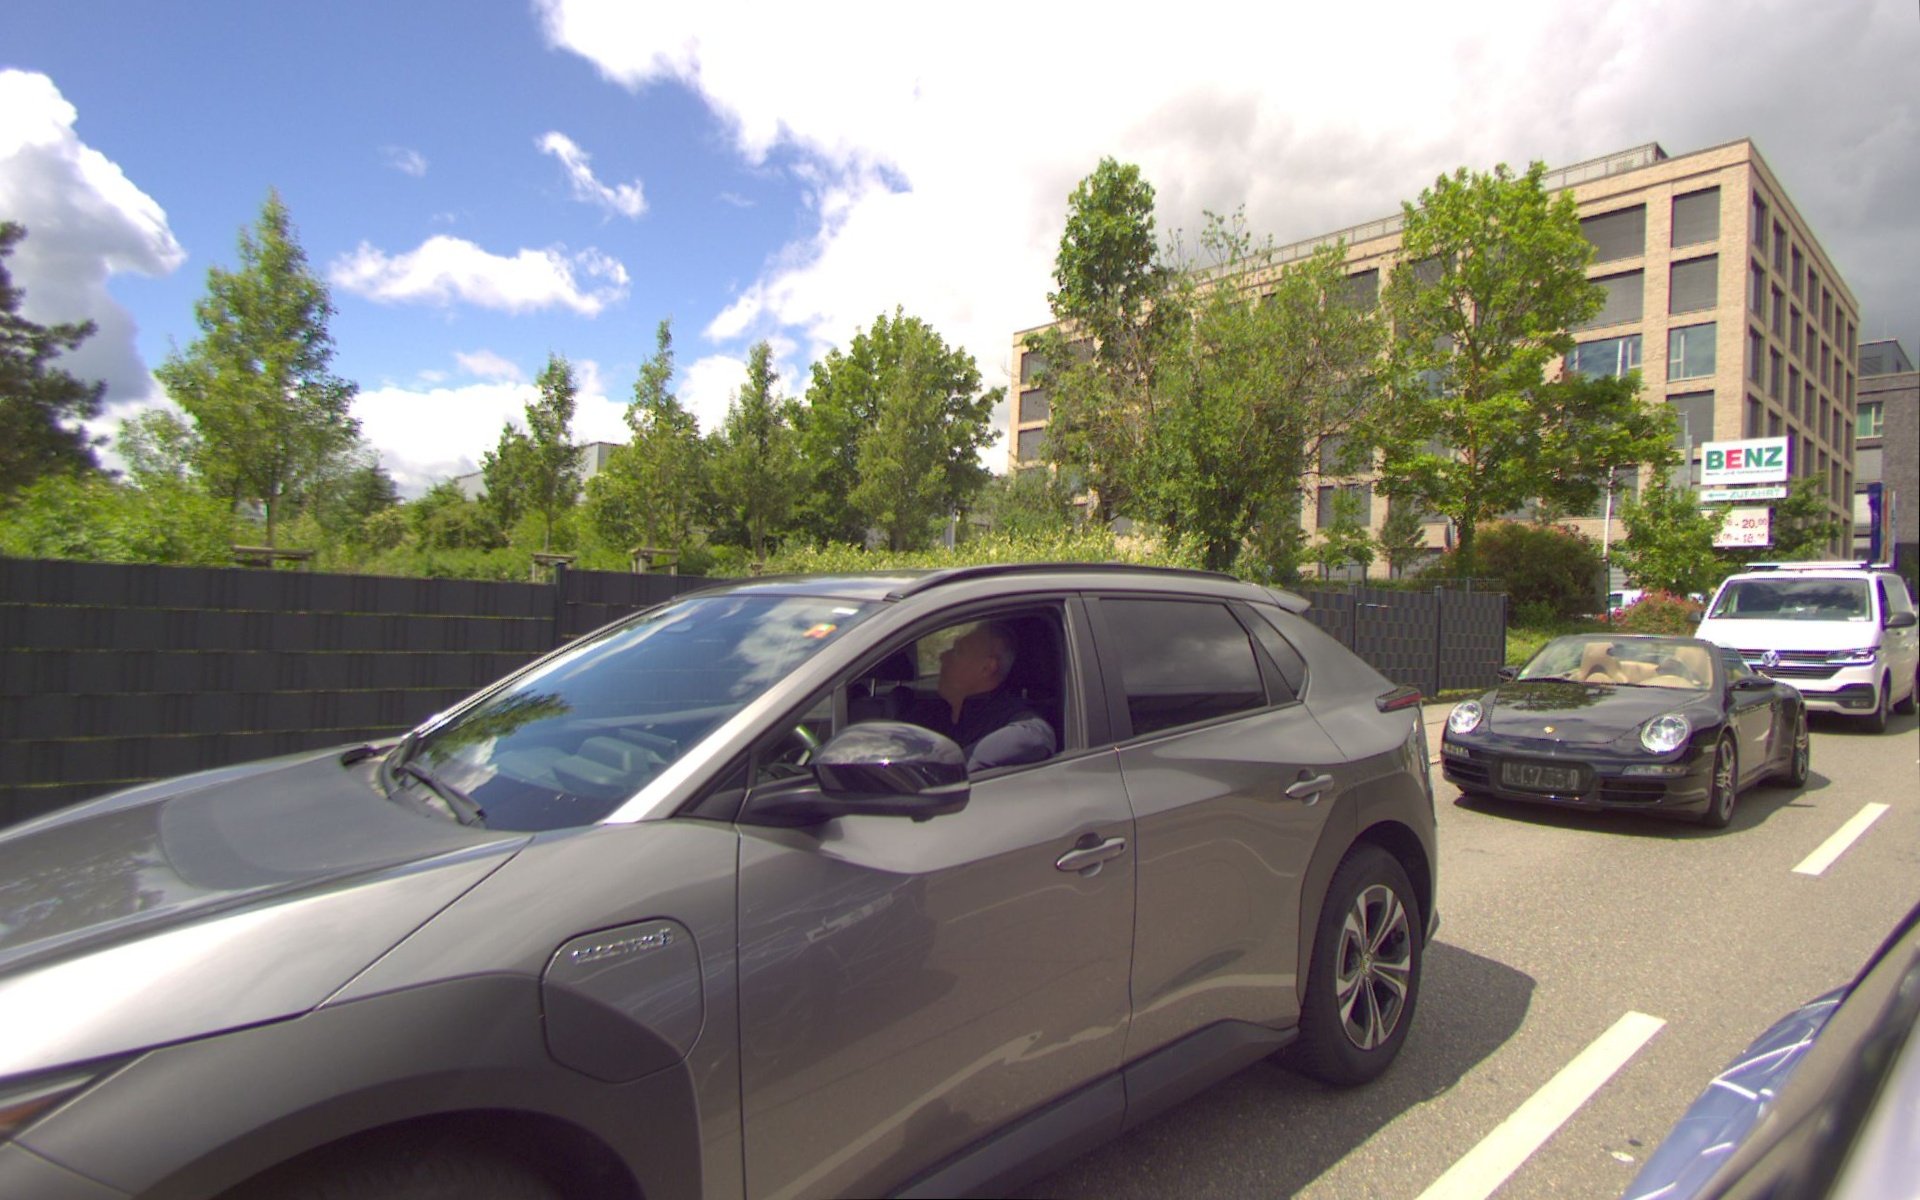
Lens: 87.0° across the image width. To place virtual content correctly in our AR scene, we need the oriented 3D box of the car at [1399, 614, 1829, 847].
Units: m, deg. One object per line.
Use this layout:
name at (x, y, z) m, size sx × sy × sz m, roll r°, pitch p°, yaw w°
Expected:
car at (5.288, 0.797, 7.987) m, size 3.967 × 1.310 × 1.823 m, roll 0°, pitch 0°, yaw -41°

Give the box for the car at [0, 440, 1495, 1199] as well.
car at (-0.421, 0.637, 2.891) m, size 4.501 × 1.649 × 1.997 m, roll 0°, pitch 1°, yaw -42°

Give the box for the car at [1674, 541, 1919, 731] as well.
car at (11.337, 0.381, 13.349) m, size 4.677 × 2.075 × 2.087 m, roll 0°, pitch 0°, yaw -41°

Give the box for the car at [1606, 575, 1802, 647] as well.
car at (19.894, 0.238, 27.185) m, size 1.793 × 1.754 × 3.991 m, roll 0°, pitch 2°, yaw -44°

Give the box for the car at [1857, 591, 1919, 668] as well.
car at (20.240, 0.587, 21.071) m, size 3.930 × 1.481 × 1.817 m, roll 0°, pitch 2°, yaw -41°
